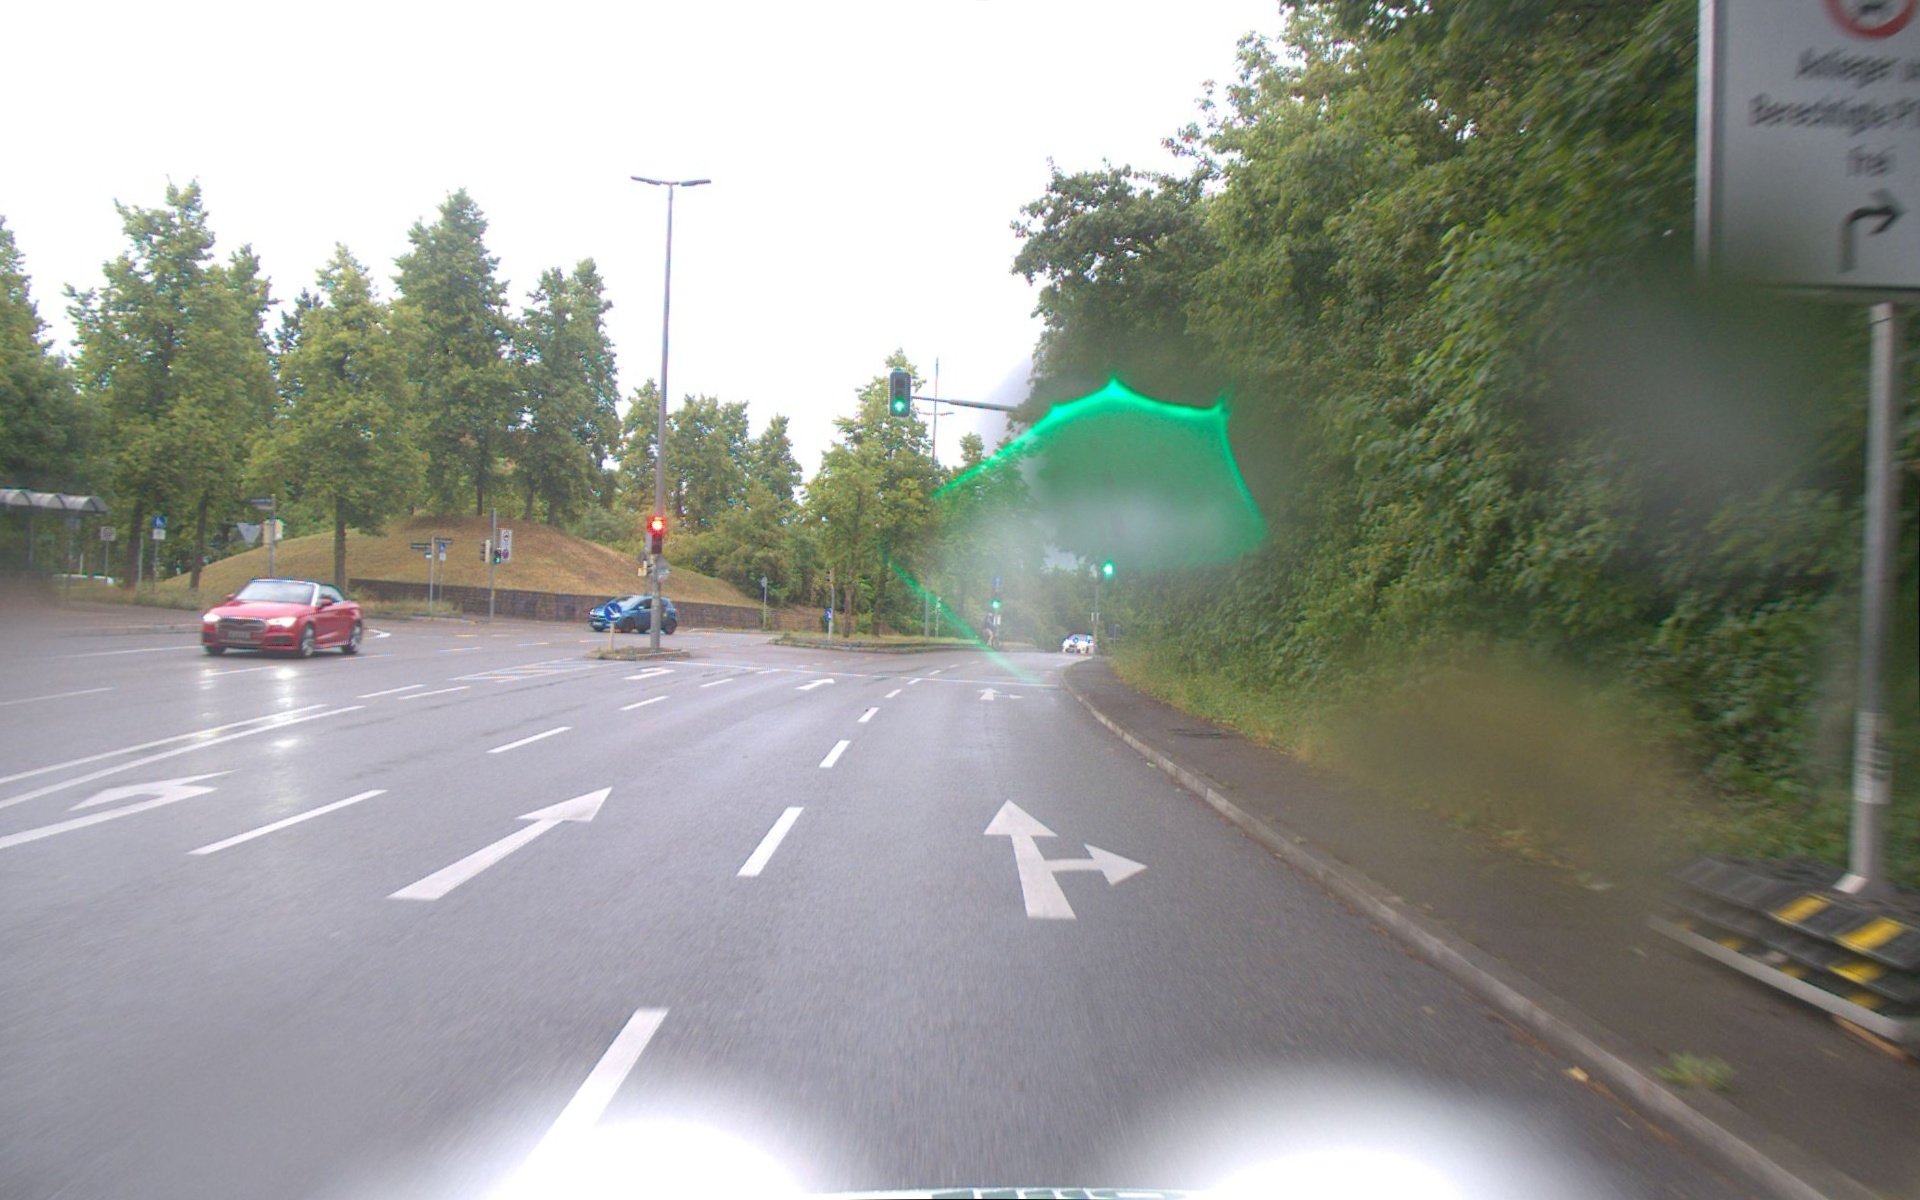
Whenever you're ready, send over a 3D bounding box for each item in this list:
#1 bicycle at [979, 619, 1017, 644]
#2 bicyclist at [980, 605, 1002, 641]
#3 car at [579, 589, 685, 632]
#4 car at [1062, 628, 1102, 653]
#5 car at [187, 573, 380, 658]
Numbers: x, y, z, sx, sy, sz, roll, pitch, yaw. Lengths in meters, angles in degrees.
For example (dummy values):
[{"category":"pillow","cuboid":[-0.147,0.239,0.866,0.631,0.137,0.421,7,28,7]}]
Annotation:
[{"category":"bicycle","cuboid":[1.928,1.639,84.607,2.123,1.163,0.545,5,-2,-43]},{"category":"bicyclist","cuboid":[1.599,1.177,84.542,0.795,1.783,0.714,6,-5,-43]},{"category":"car","cuboid":[-12.916,0.442,65.272,1.957,1.516,3.928,2,-1,30]},{"category":"car","cuboid":[9.592,3.204,129.909,1.904,1.664,5.006,3,-2,18]},{"category":"car","cuboid":[-12.488,0.252,30.847,1.837,1.398,4.383,2,0,-1]}]
